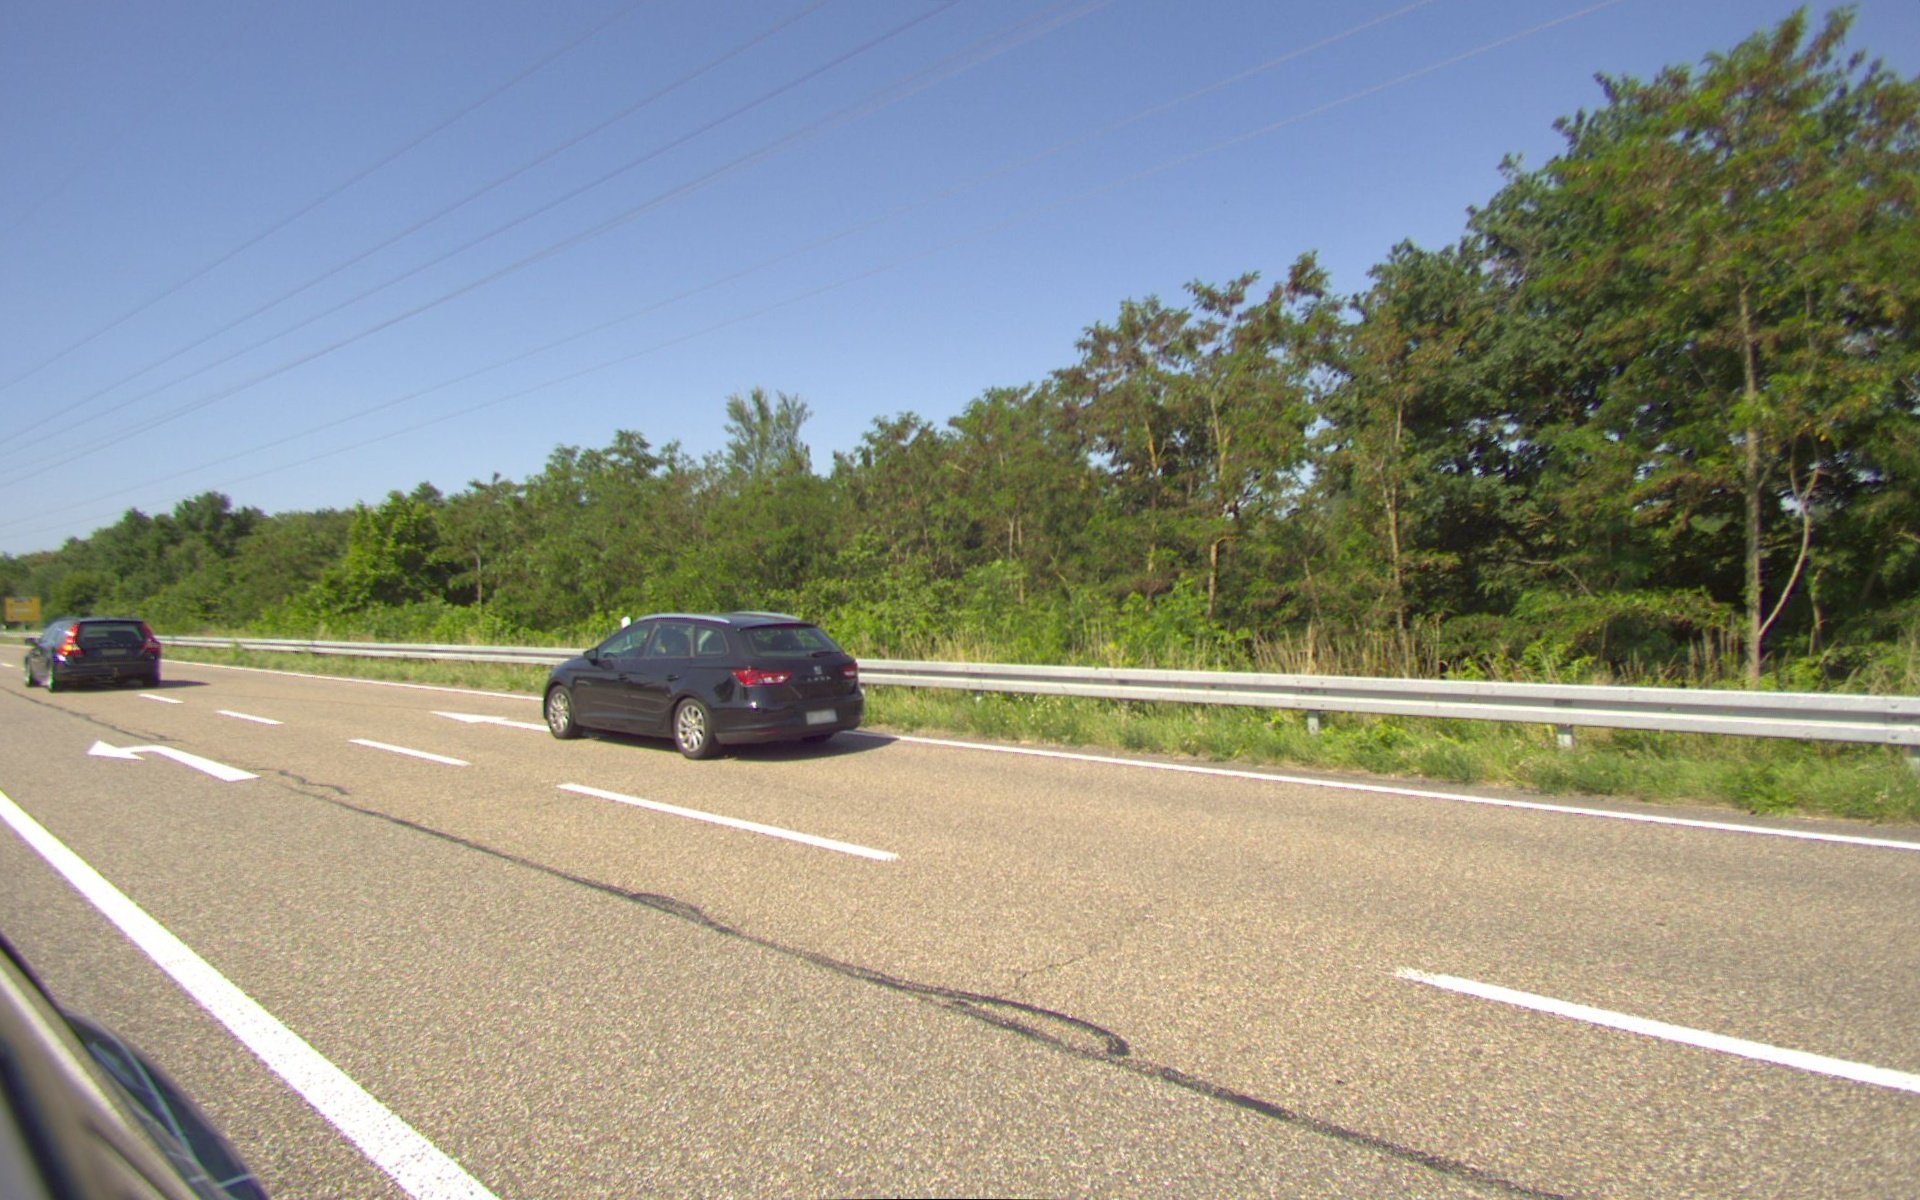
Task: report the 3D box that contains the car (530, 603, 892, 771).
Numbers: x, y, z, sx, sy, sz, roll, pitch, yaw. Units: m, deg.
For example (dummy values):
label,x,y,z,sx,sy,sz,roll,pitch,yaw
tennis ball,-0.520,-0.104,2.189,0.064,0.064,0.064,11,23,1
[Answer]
label,x,y,z,sx,sy,sz,roll,pitch,yaw
car,-2.821,0.807,10.912,4.211,1.453,1.643,-1,0,41

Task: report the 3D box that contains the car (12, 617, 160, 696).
label,x,y,z,sx,sy,sz,roll,pitch,yaw
car,-18.935,1.157,21.856,4.418,1.502,1.710,-1,0,40
